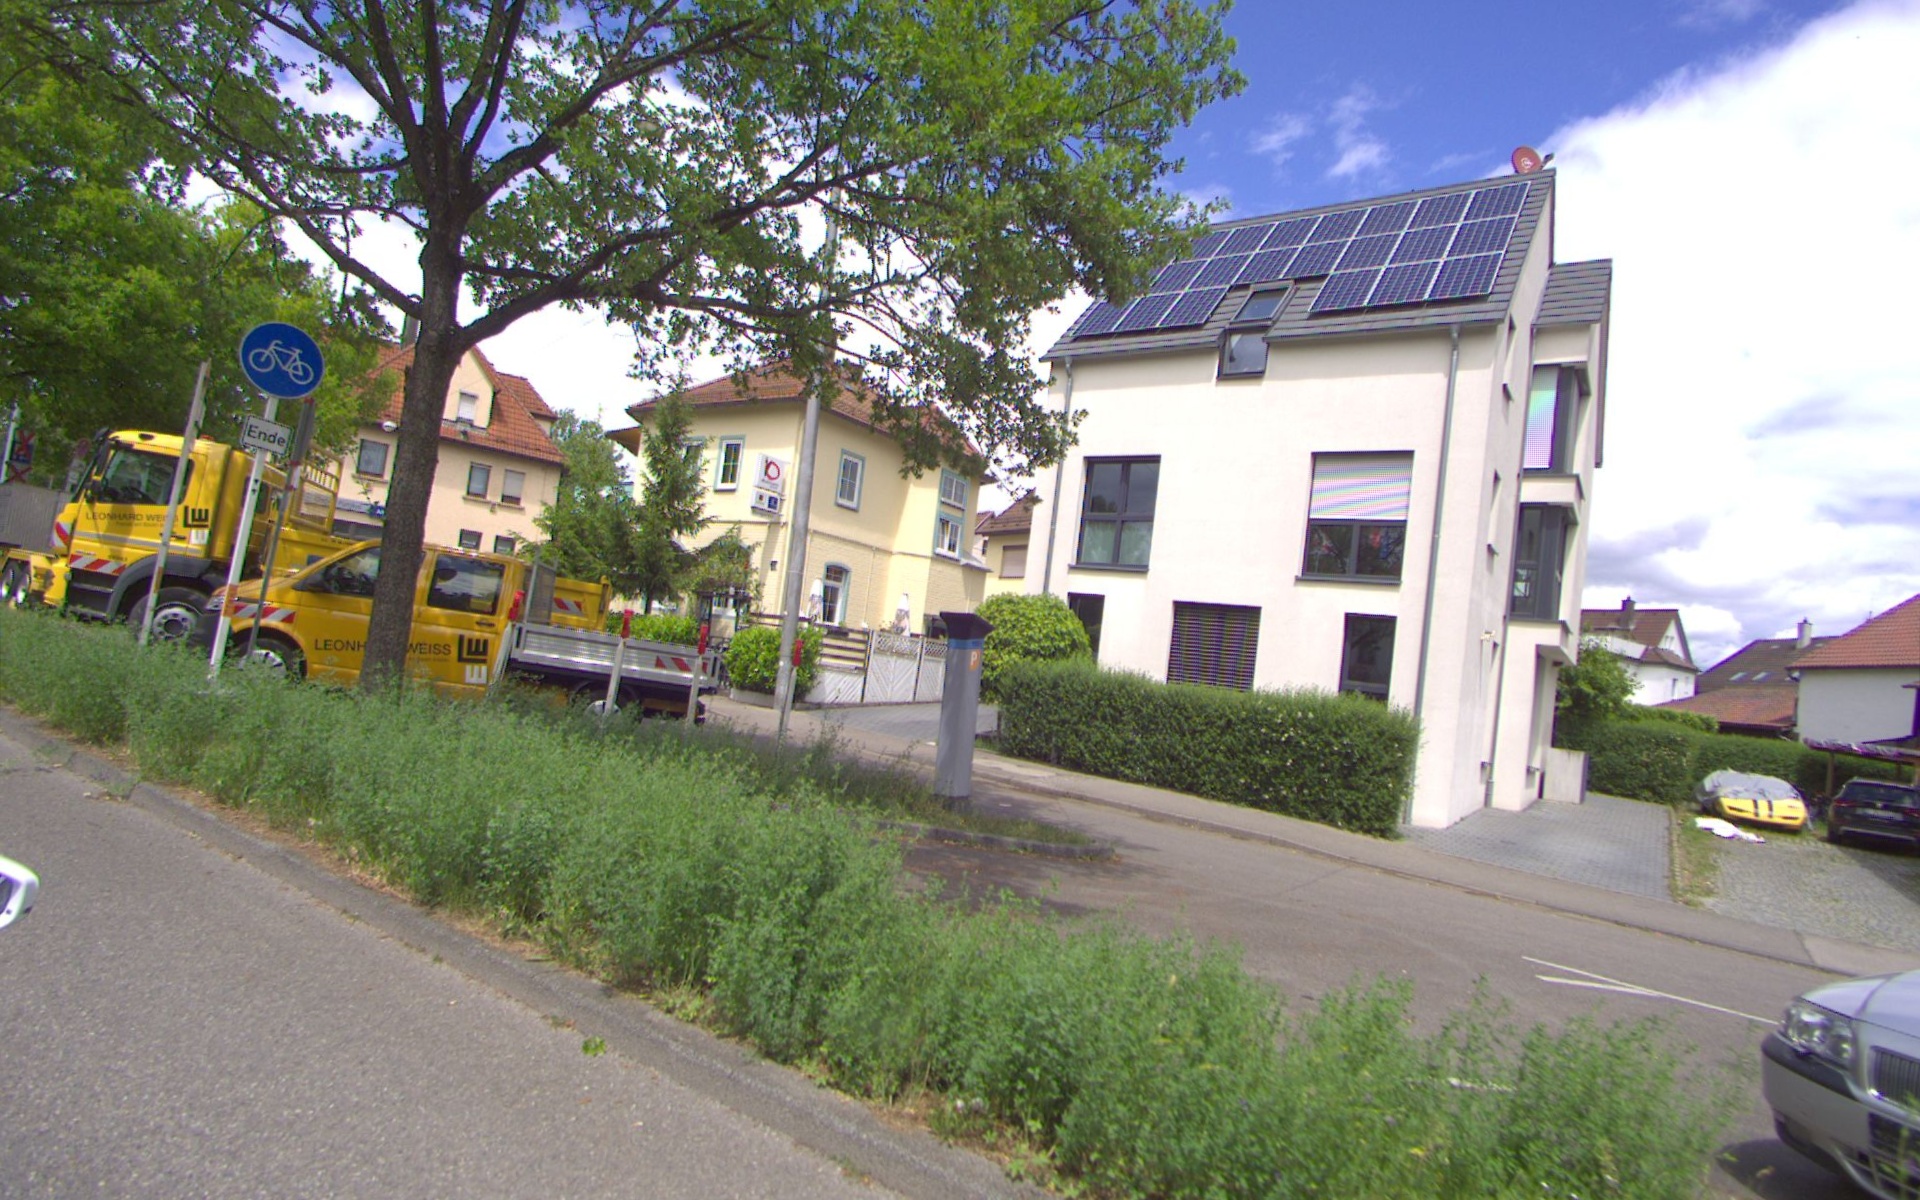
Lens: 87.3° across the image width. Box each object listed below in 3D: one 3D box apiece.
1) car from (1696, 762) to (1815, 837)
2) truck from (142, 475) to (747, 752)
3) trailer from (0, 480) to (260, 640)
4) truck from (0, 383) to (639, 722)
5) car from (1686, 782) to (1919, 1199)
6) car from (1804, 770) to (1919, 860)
[{"bbox_3d":[20.008,4.964,25.458,1.969,1.346,3.993,7,-3,35],"label":"car"},{"bbox_3d":[-5.463,0.296,11.607,5.592,2.032,1.999,10,-6,-14],"label":"truck"},{"bbox_3d":[-14.742,-0.737,17.265,5.424,2.053,2.396,6,-5,33],"label":"trailer"},{"bbox_3d":[-8.096,-0.359,13.847,6.613,3.036,2.765,10,-6,-18],"label":"truck"},{"bbox_3d":[5.215,1.773,3.504,4.620,1.466,1.765,10,-4,-15],"label":"car"},{"bbox_3d":[21.441,5.001,23.613,1.969,1.657,3.994,6,-4,35],"label":"car"}]
